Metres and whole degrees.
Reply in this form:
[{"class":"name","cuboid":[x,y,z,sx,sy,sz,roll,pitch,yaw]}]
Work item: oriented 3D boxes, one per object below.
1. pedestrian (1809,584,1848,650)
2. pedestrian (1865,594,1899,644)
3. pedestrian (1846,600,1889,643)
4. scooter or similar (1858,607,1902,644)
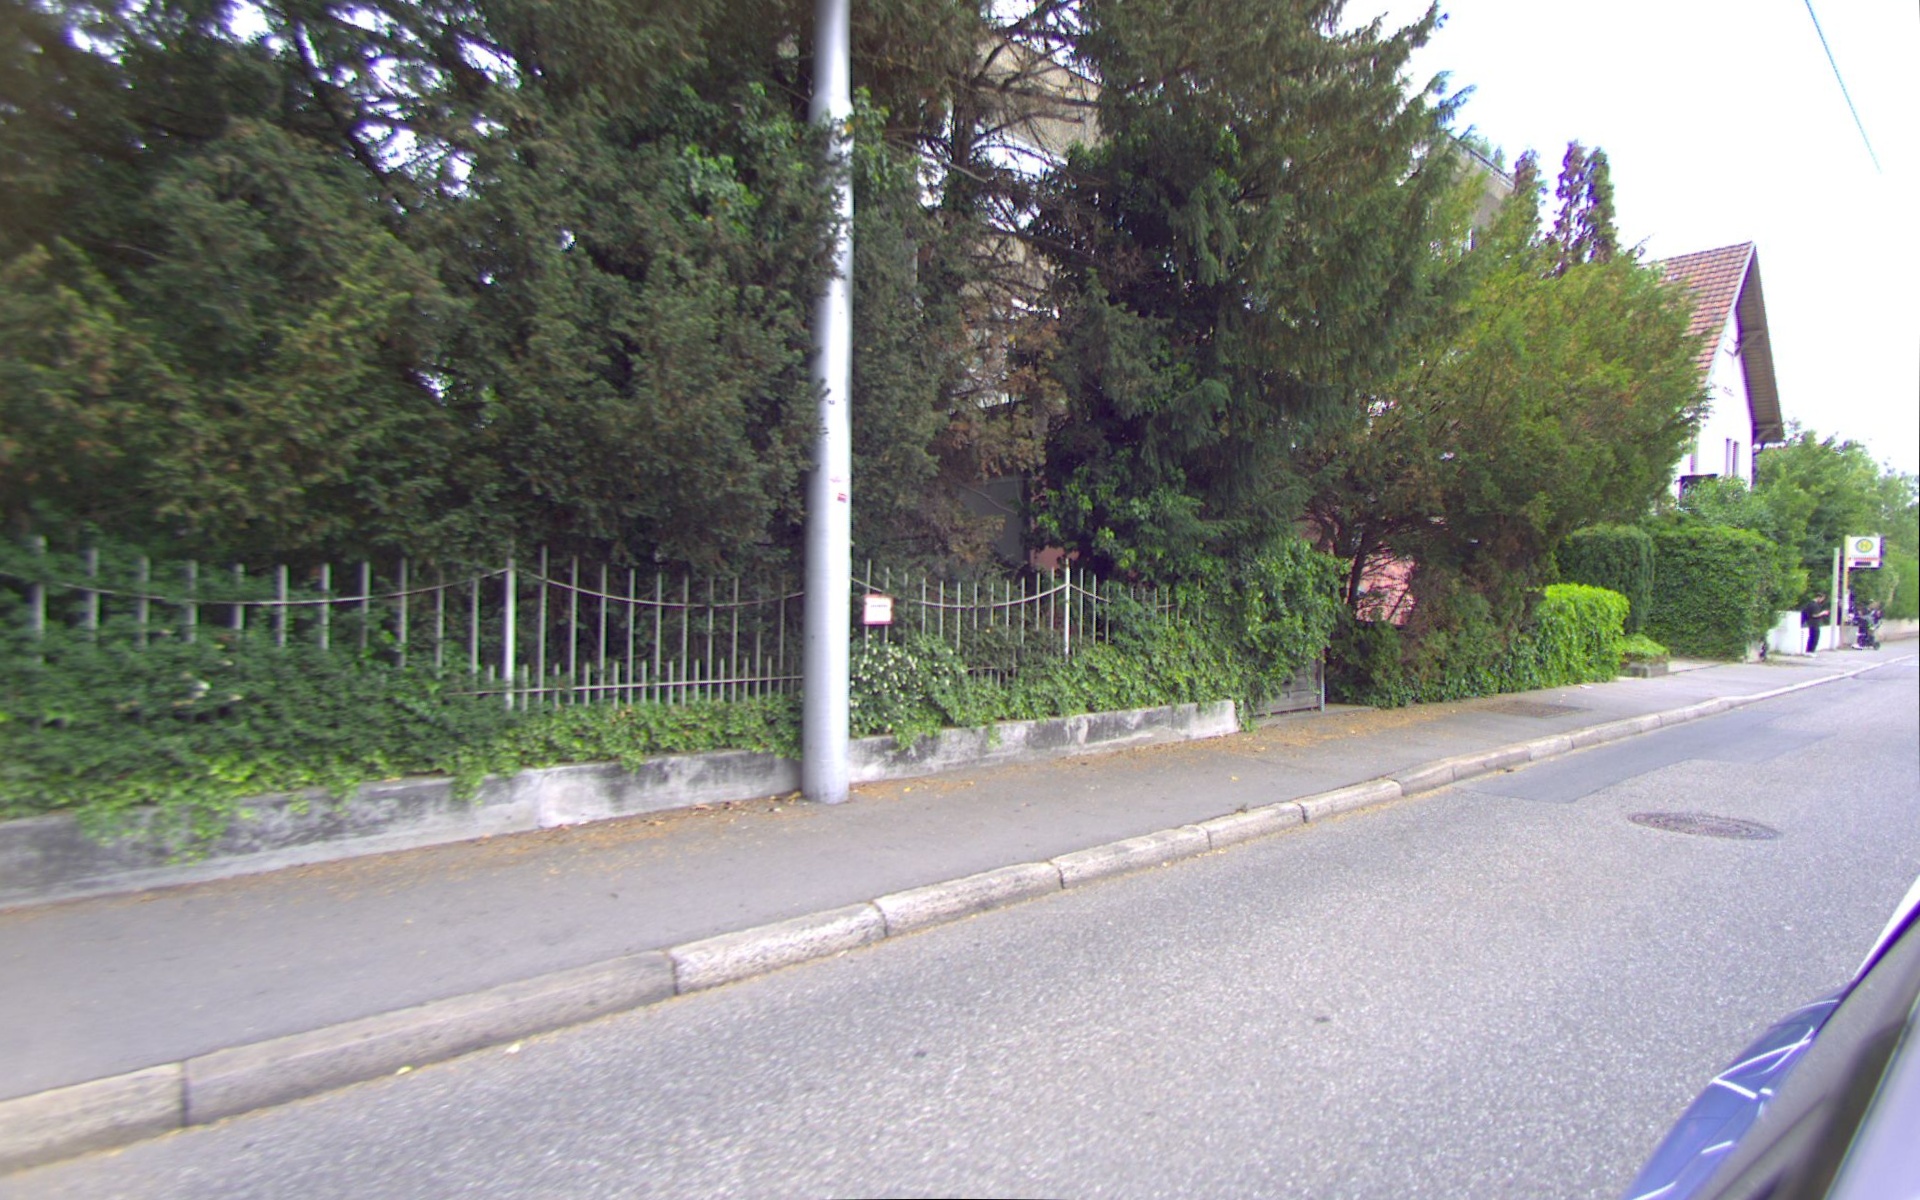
[{"class":"pedestrian","cuboid":[23.830,0.472,27.768,0.657,1.789,0.491,-1,0,-9]},{"class":"pedestrian","cuboid":[30.031,0.605,32.947,0.736,1.553,0.661,0,4,-42]},{"class":"pedestrian","cuboid":[28.451,0.667,31.744,0.914,1.266,0.777,5,4,44]},{"class":"scooter or similar","cuboid":[29.424,0.820,32.368,0.842,1.110,0.479,3,3,2]}]
